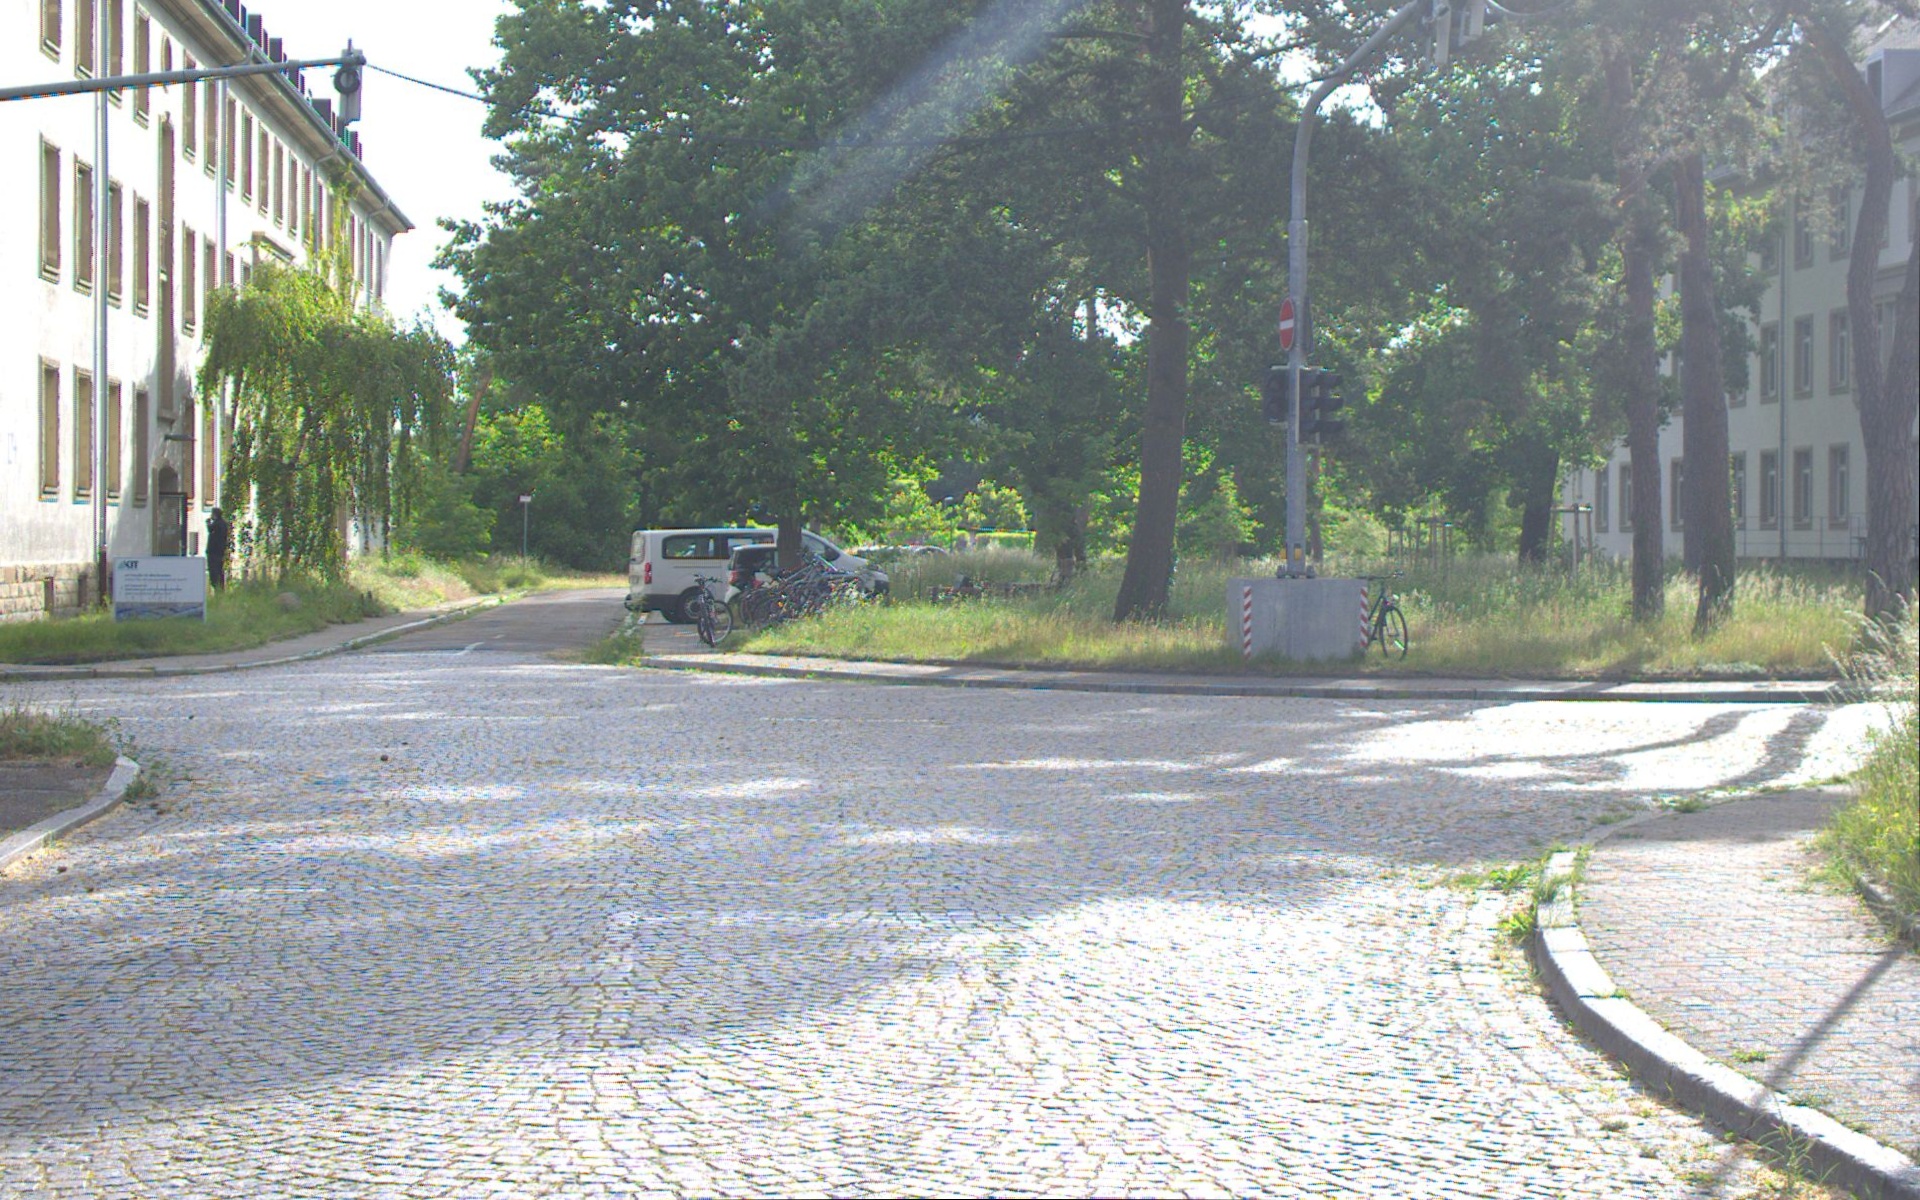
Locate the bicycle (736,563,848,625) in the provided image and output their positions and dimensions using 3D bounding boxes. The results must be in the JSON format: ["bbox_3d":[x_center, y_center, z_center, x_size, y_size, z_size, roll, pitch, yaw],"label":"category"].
[{"bbox_3d":[-2.750,-0.096,56.167,1.792,0.995,0.644,0,2,-5],"label":"bicycle"}]

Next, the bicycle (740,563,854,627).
[{"bbox_3d":[-2.594,-0.079,54.673,1.792,0.995,0.644,0,2,-5],"label":"bicycle"}]

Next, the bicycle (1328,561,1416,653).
[{"bbox_3d":[4.785,0.070,39.975,0.562,0.995,1.753,0,2,-9],"label":"bicycle"}]

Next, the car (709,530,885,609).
[{"bbox_3d":[-3.144,-0.575,66.008,3.031,1.460,1.720,0,0,-17],"label":"car"}]

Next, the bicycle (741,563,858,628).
[{"bbox_3d":[-2.510,-0.070,53.656,1.792,0.995,0.644,0,2,-5],"label":"bicycle"}]

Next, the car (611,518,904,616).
[{"bbox_3d":[-4.098,-0.657,69.514,5.499,1.909,2.255,0,0,-18],"label":"car"}]

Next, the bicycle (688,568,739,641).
[{"bbox_3d":[-3.590,0.052,49.979,0.728,0.995,1.799,0,2,-5],"label":"bicycle"}]

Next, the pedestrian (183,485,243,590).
[{"bbox_3d":[-14.159,-1.176,65.178,0.985,1.956,0.933,1,0,-5],"label":"pedestrian"}]
